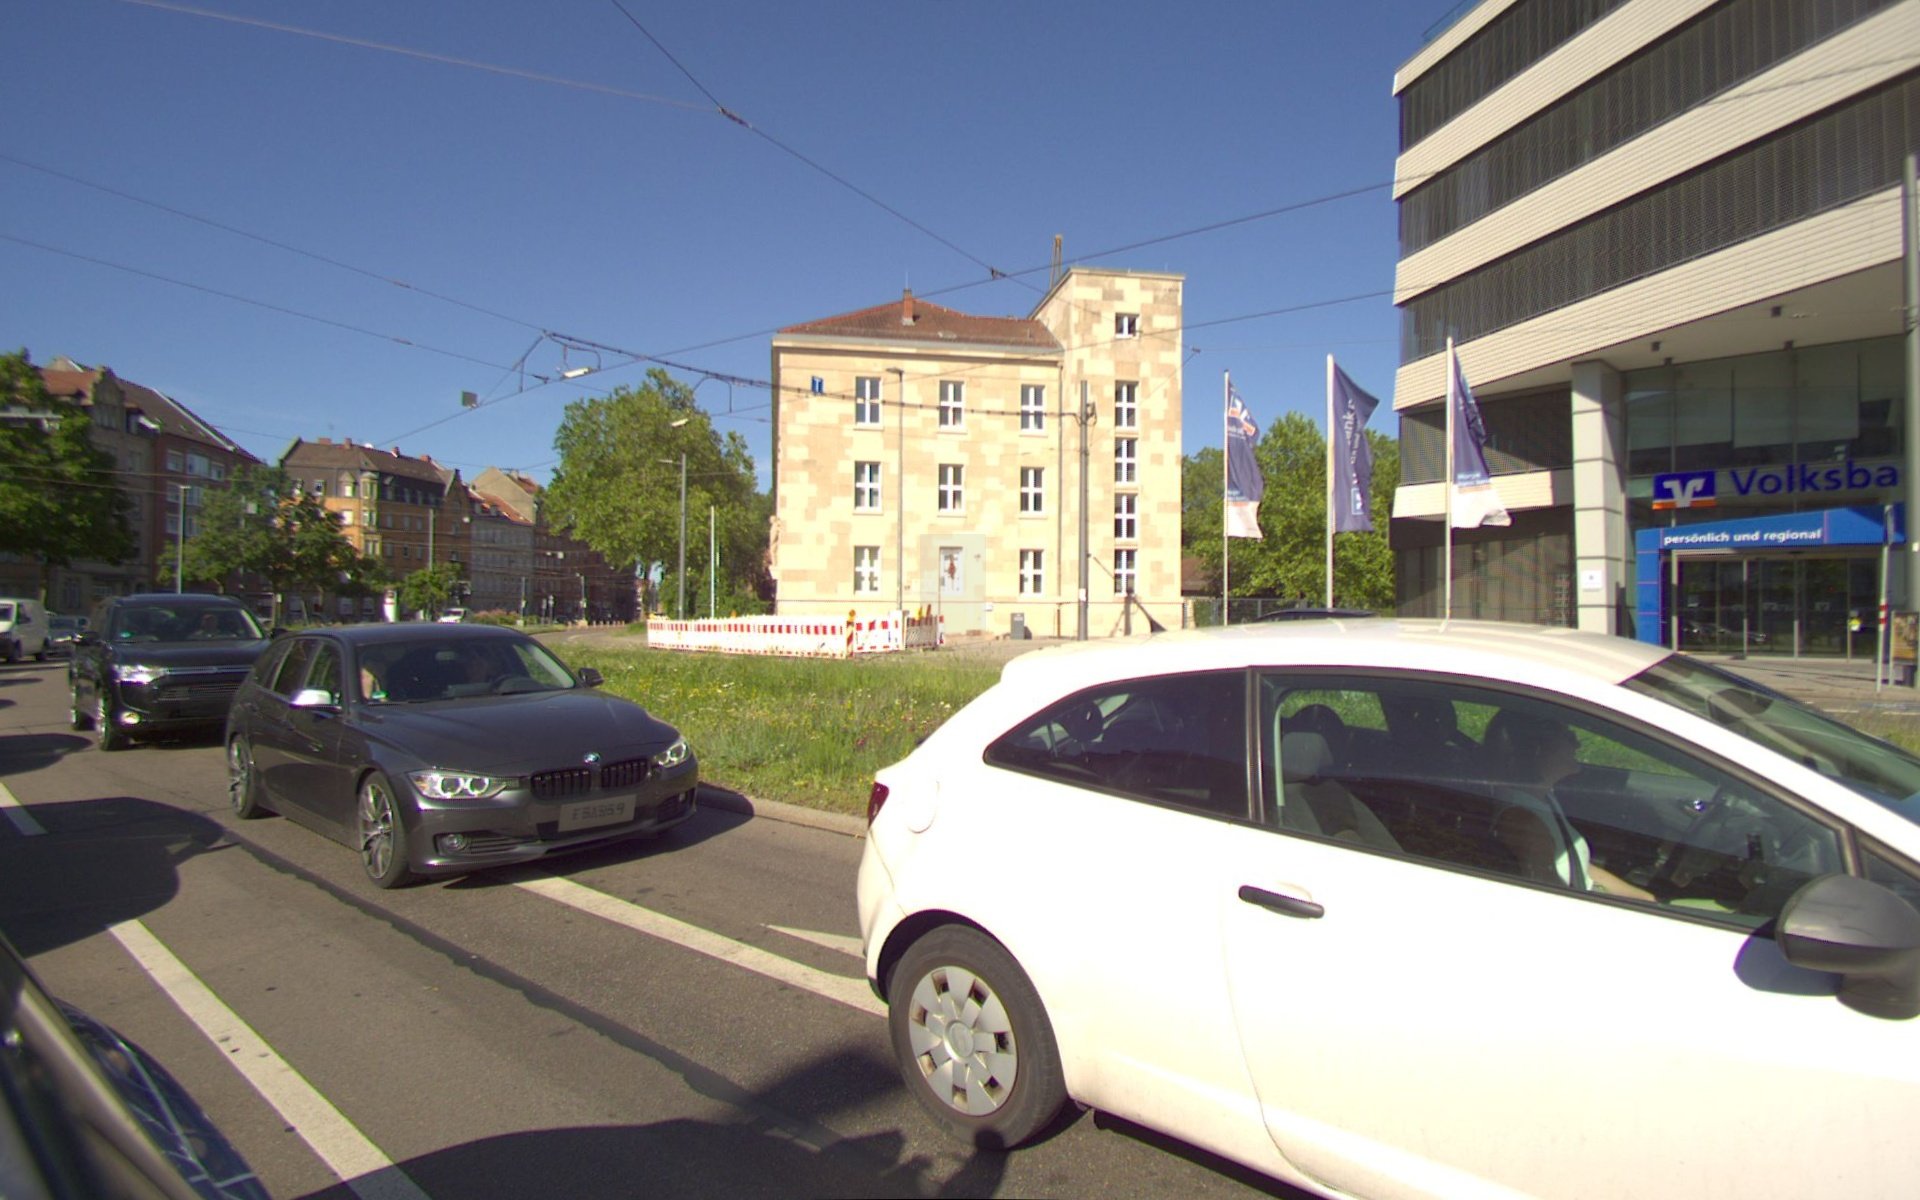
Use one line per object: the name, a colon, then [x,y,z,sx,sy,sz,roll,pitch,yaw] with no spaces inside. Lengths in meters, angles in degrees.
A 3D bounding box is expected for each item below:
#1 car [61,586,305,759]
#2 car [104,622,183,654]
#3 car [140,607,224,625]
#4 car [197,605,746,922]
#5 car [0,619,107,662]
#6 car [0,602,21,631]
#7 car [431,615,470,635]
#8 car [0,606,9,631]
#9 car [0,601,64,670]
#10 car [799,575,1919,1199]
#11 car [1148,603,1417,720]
car: [-9.382,0.735,12.079,4.329,1.697,1.744,-1,0,45]
car: [-37.434,1.706,46.535,1.799,1.395,4.670,1,-1,-26]
car: [-53.755,1.100,69.996,2.000,1.219,4.338,-1,-2,43]
car: [-3.536,0.780,6.853,4.483,1.441,1.816,-1,0,42]
car: [-32.316,1.394,36.207,1.842,1.458,3.921,1,-1,-26]
car: [-51.467,0.844,52.104,4.329,1.472,2.004,1,-2,-37]
car: [-41.643,2.033,82.809,1.844,1.568,4.009,0,-1,-11]
car: [-49.781,0.902,49.666,4.329,1.243,2.004,1,-1,-37]
car: [-29.428,1.053,30.933,1.842,1.997,4.670,1,-1,-26]
car: [1.510,0.693,2.411,3.834,1.441,1.647,-1,1,41]
car: [5.395,0.967,17.165,3.995,1.763,1.748,-1,-2,38]
